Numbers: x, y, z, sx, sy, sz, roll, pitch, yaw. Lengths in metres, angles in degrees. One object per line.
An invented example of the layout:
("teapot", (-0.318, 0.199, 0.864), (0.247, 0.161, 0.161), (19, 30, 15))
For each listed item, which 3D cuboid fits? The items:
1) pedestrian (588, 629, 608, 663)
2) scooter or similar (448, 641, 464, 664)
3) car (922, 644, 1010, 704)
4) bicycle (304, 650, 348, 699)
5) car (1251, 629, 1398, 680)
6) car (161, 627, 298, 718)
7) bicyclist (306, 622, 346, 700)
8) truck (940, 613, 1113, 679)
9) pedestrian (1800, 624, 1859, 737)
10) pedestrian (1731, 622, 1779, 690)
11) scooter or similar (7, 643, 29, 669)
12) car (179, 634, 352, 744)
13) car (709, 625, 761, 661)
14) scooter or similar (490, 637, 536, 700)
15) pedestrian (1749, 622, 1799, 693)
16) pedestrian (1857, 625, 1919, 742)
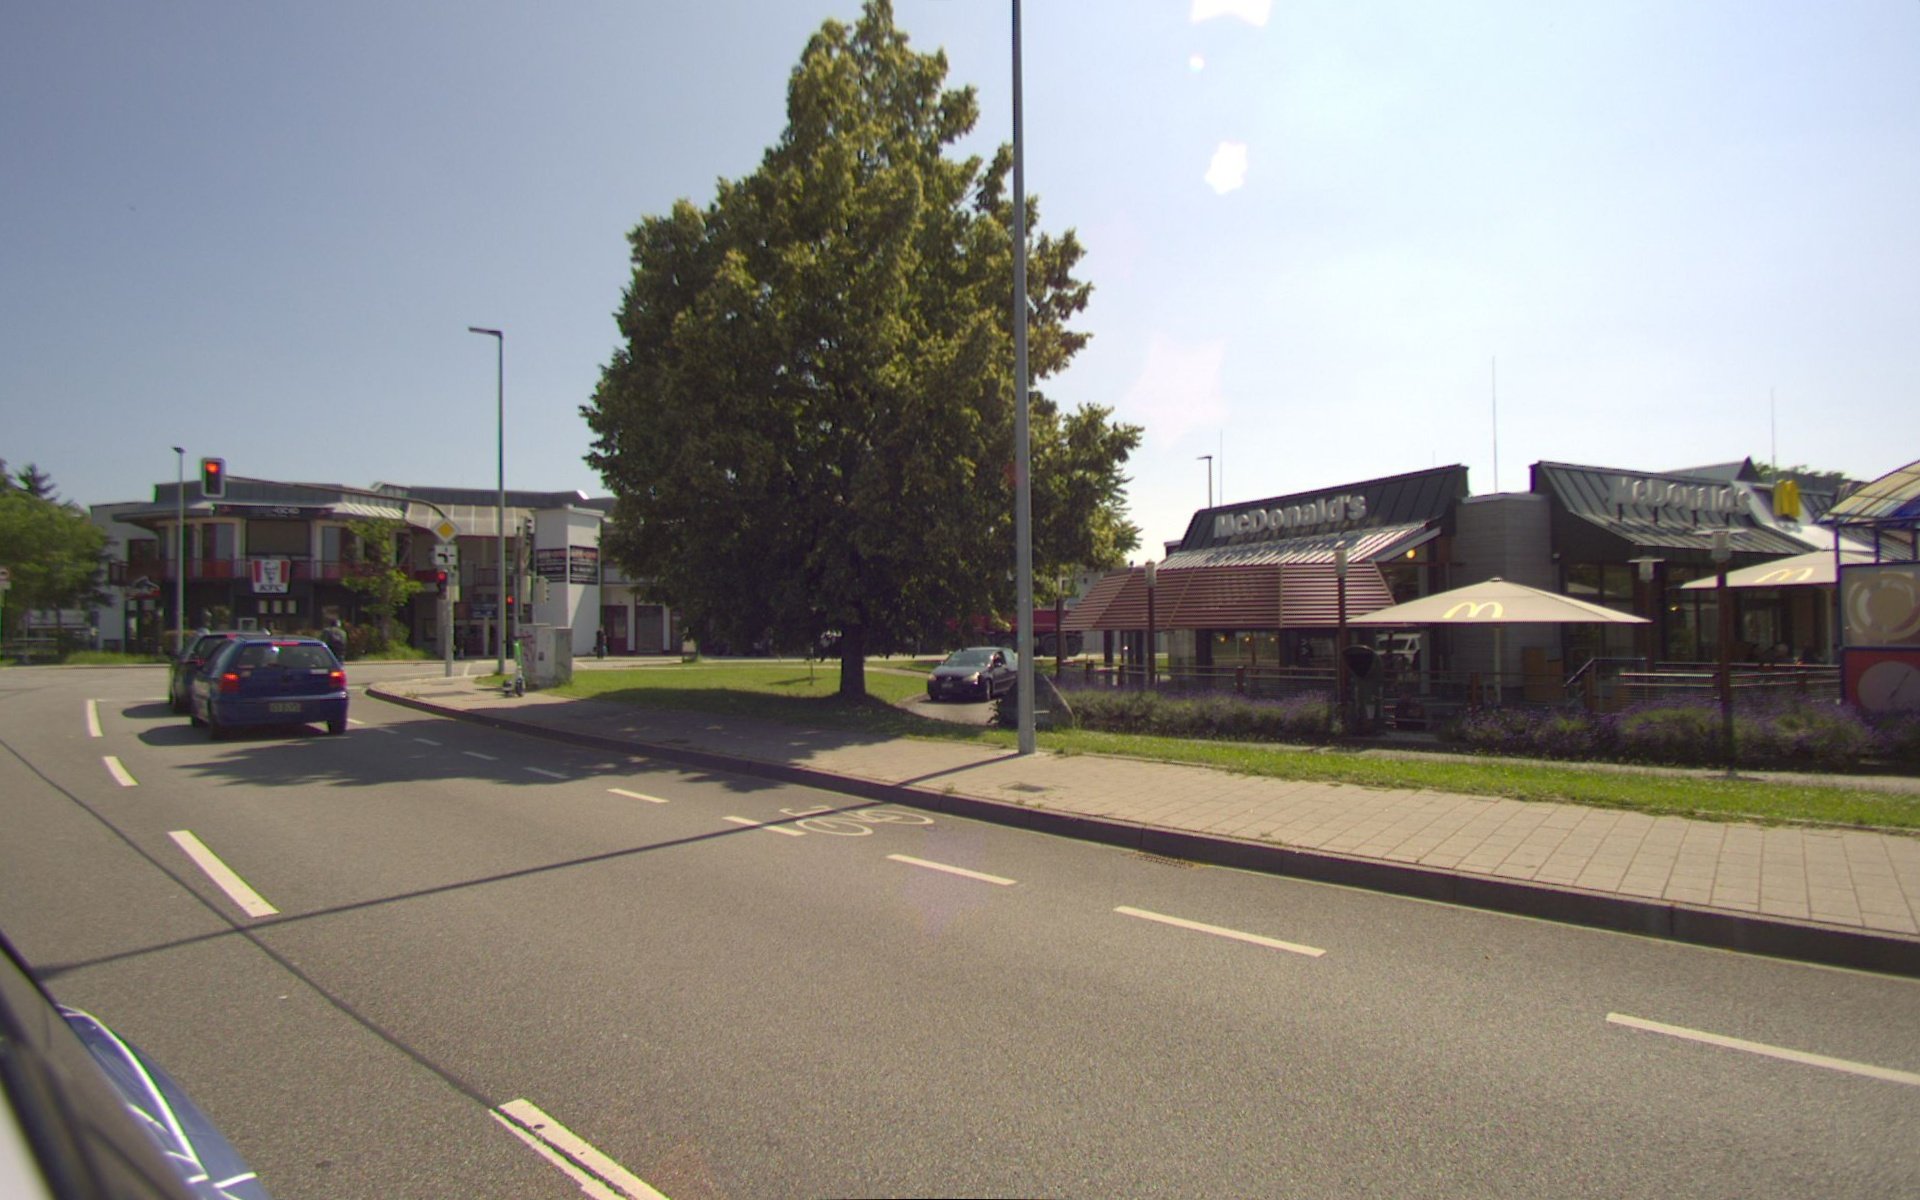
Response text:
("pedestrian", (-17.844, 2.269, 49.940), (0.722, 1.658, 0.843), (0, -2, -6))
("scooter or similar", (-24.842, 2.594, 49.902), (0.492, 1.132, 1.509), (0, -2, -17))
("car", (0.243, 2.040, 28.814), (1.845, 1.564, 4.175), (-1, -2, 10))
("bicycle", (-15.060, 1.763, 24.036), (0.688, 1.113, 1.759), (3, -4, -37))
("car", (12.030, 1.785, 33.587), (1.838, 1.564, 4.191), (2, -3, -44))
("car", (-13.955, 1.309, 19.215), (1.757, 1.508, 4.730), (2, -3, -40))
("bicyclist", (-15.049, 1.430, 24.020), (0.701, 1.802, 0.811), (1, -3, -37))
("truck", (3.684, 2.469, 55.657), (9.009, 3.412, 3.325), (0, -3, -26))
("pedestrian", (16.167, 1.472, 18.817), (0.753, 2.029, 0.824), (-2, -3, 42))
("pedestrian", (17.720, 1.241, 22.557), (0.753, 1.485, 0.824), (-2, -3, 42))
("scooter or similar", (-42.871, 2.544, 46.067), (0.420, 1.132, 1.456), (1, -3, -31))
("car", (-10.271, 1.211, 14.841), (1.635, 1.391, 4.006), (2, -3, -41))
("car", (-12.485, 2.370, 55.958), (1.777, 1.870, 4.674), (1, -3, -26))
("scooter or similar", (-8.796, 1.333, 19.891), (0.465, 1.193, 1.368), (2, -3, -39))
("pedestrian", (17.330, 1.216, 21.551), (0.753, 1.485, 0.824), (-2, -3, 42))
("pedestrian", (16.644, 1.466, 18.153), (0.753, 2.029, 0.824), (-2, -3, 42))
